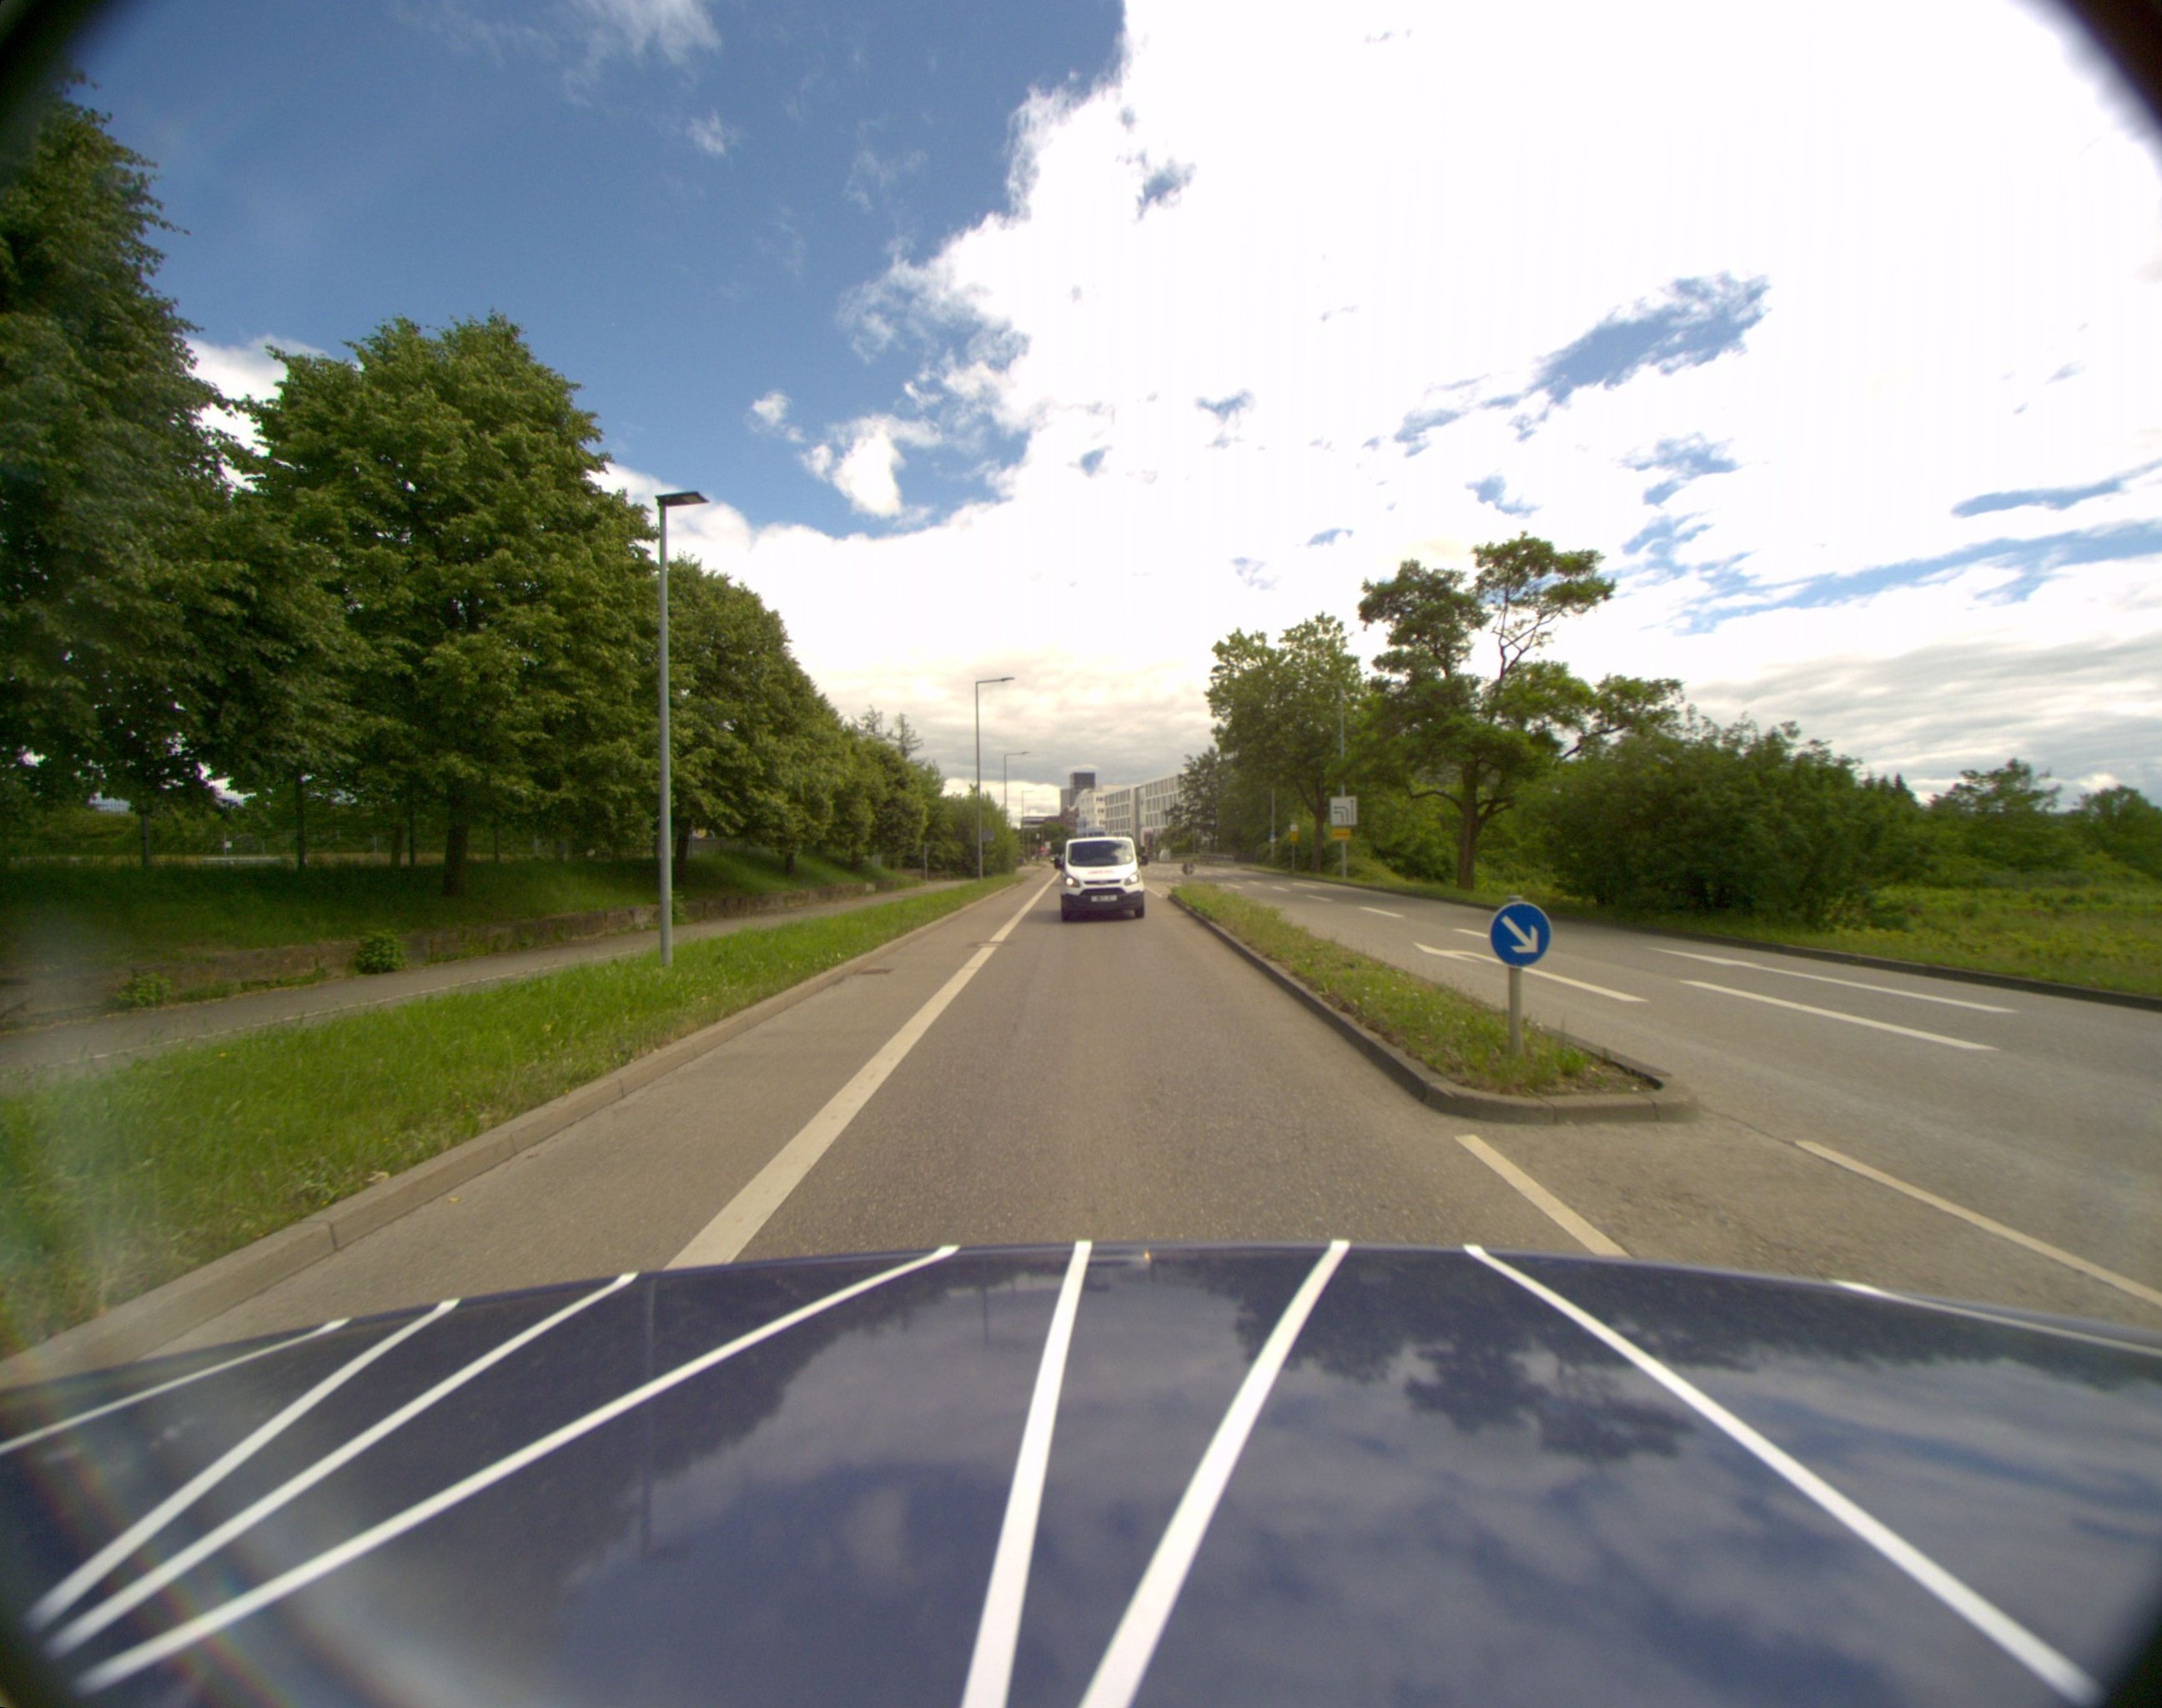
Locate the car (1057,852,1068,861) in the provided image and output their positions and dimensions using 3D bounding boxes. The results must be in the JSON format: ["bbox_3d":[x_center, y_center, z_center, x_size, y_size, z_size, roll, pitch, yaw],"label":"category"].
[{"bbox_3d":[-3.739,0.493,149.306,1.873,1.685,4.369,-2,0,-5],"label":"car"}]

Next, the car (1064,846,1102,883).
[{"bbox_3d":[0.121,0.545,41.475,1.872,1.836,4.371,-2,0,0],"label":"car"}]

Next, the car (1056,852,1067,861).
[{"bbox_3d":[-3.573,0.436,140.249,1.873,1.685,4.369,-2,0,-4],"label":"car"}]

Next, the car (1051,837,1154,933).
[{"bbox_3d":[0.424,0.636,19.116,2.122,1.963,6.206,-2,0,-1],"label":"car"}]
